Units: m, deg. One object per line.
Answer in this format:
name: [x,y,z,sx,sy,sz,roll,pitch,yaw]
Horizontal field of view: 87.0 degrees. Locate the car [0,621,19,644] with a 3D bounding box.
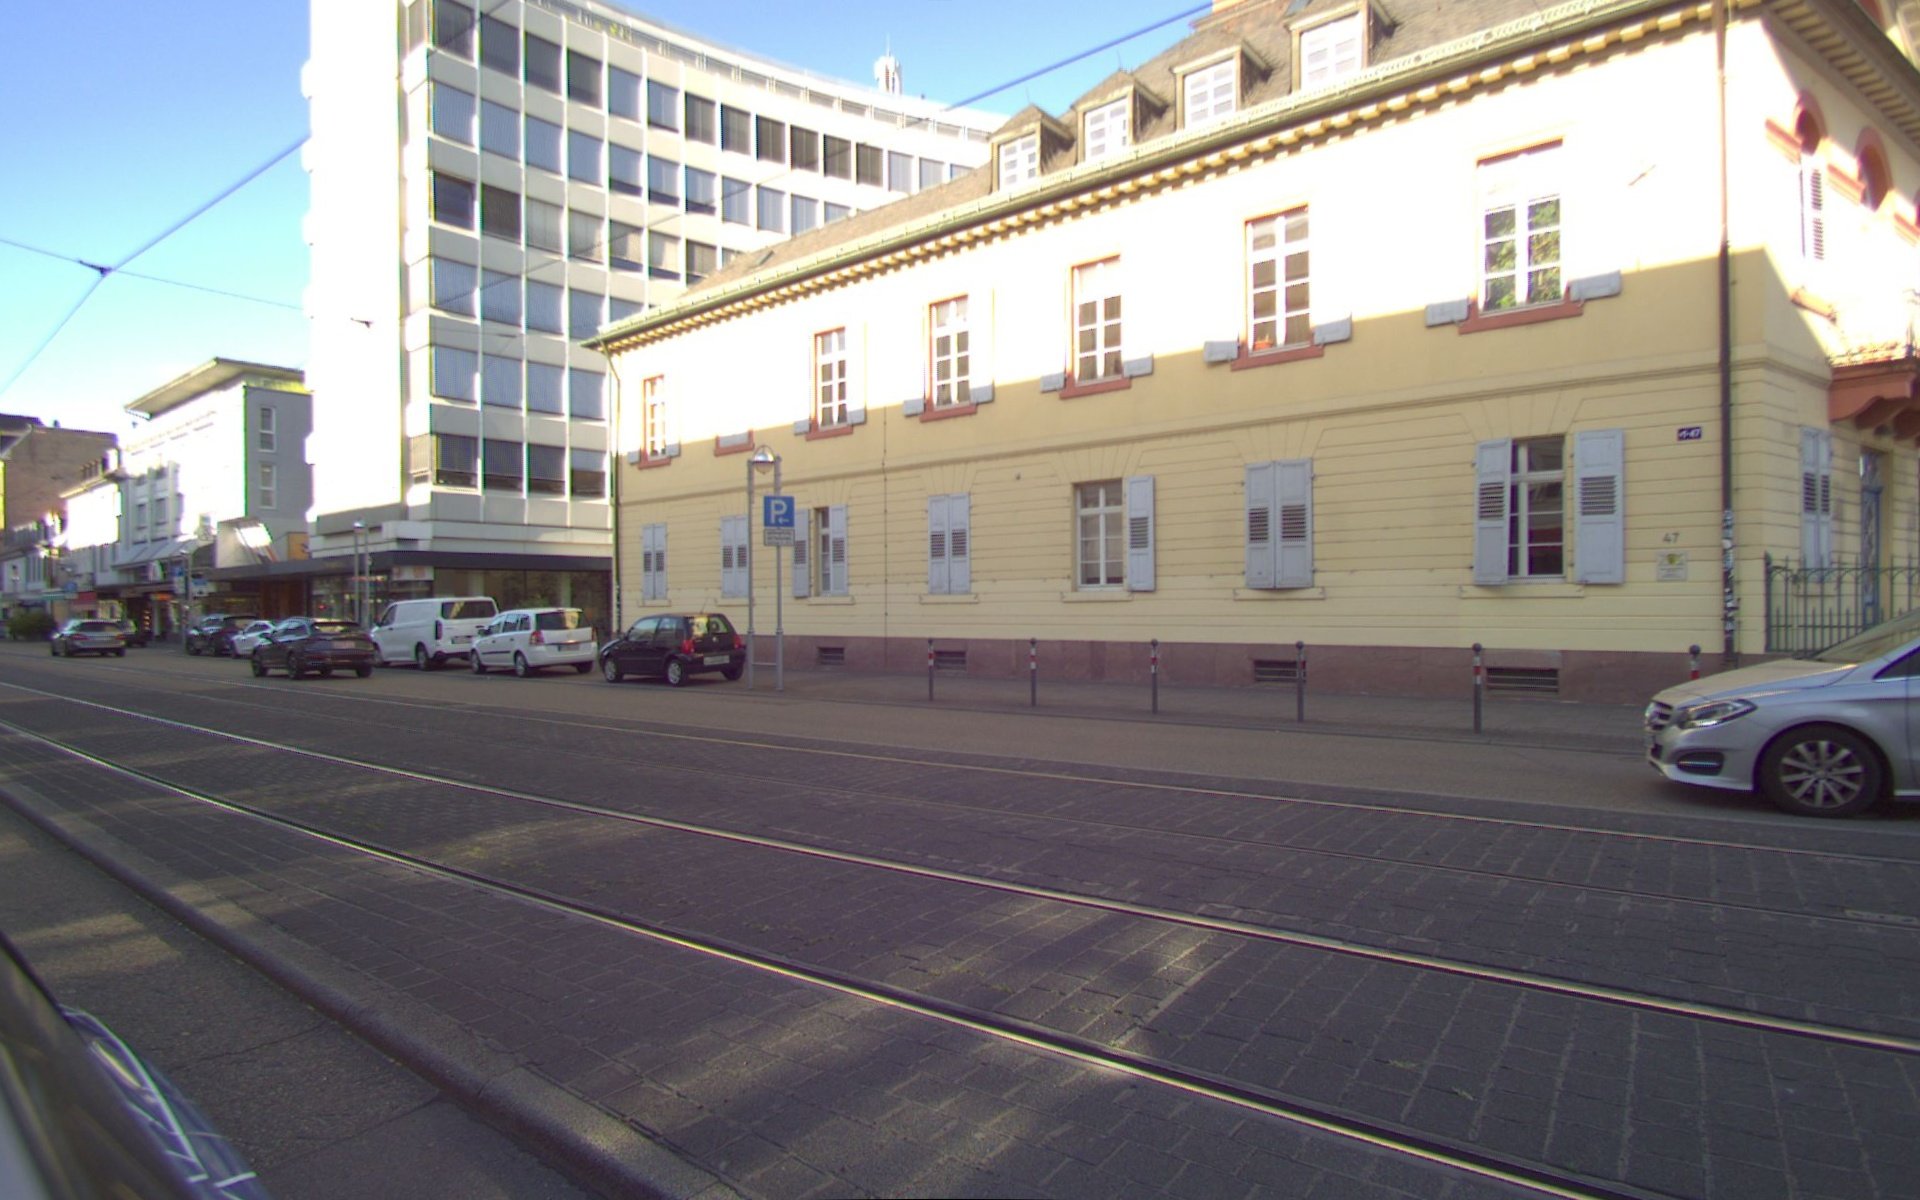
car: [-70.275,2.402,74.072,2.888,1.616,1.680,-1,1,39]

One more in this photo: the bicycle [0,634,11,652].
bicycle: [-65.077,2.918,68.846,1.714,1.098,0.513,-1,1,40]

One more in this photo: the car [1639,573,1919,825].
car: [7.199,0.612,6.701,4.273,1.580,1.770,-2,-2,28]

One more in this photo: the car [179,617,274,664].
car: [-29.634,1.583,40.831,4.651,1.691,1.959,-1,1,40]

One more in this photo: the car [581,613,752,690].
car: [-6.232,1.032,21.357,3.716,1.411,1.599,-1,1,39]

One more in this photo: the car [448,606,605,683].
car: [-10.918,1.040,25.344,4.647,1.698,1.789,-1,1,42]

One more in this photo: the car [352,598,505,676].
car: [-15.272,1.003,28.972,5.091,1.990,1.974,-1,1,39]

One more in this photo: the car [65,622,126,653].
car: [-47.883,2.050,56.023,4.848,1.535,1.720,-1,2,40]

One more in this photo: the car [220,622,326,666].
car: [-25.423,1.584,37.401,4.650,1.431,1.870,-1,1,38]

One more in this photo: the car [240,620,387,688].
car: [-16.235,1.293,25.351,4.273,1.523,1.748,-1,-1,37]

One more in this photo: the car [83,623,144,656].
car: [-43.431,1.997,51.916,3.583,1.535,1.586,-1,1,37]

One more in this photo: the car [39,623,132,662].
car: [-35.331,1.694,40.854,4.923,1.507,1.862,-1,-3,38]
